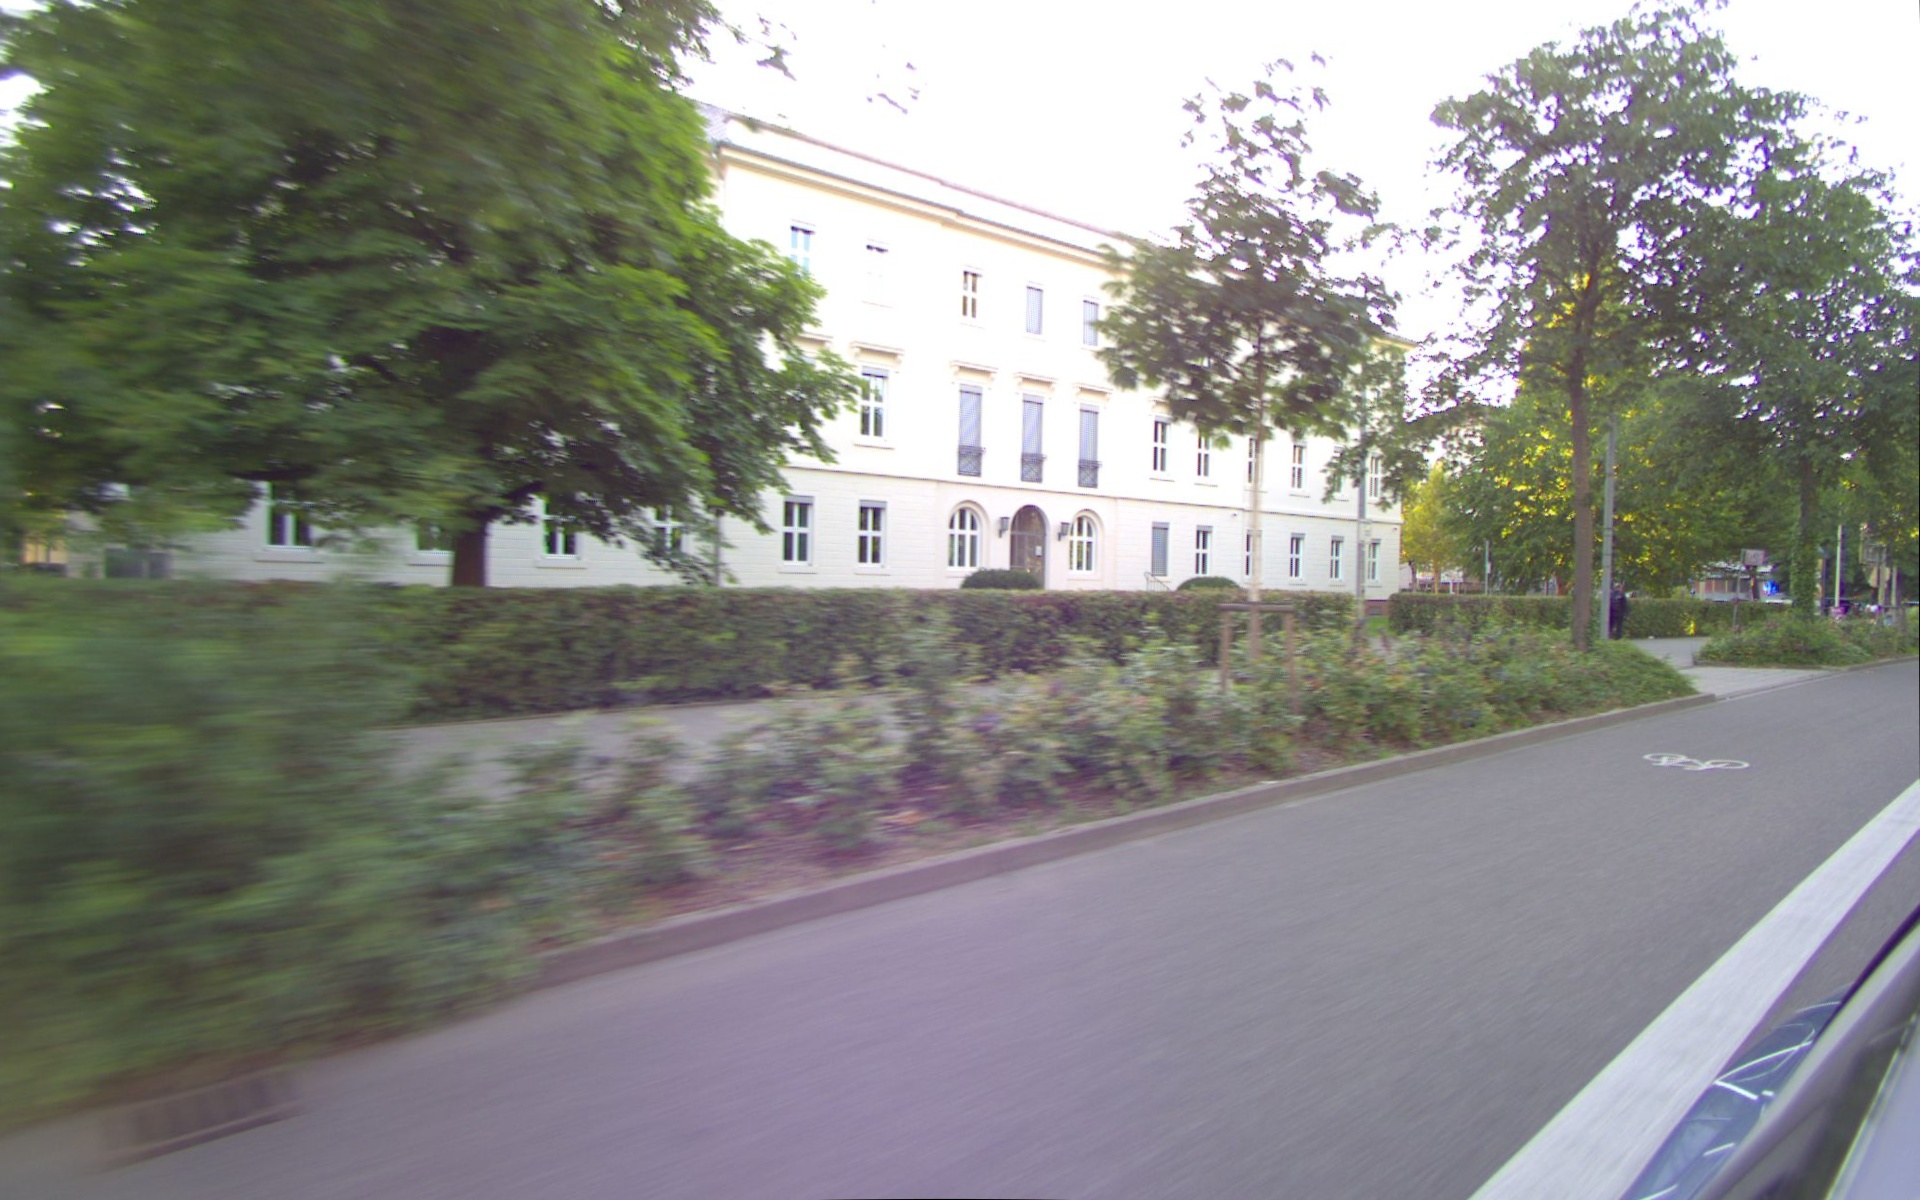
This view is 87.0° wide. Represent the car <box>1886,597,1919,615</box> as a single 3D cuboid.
[{"bbox_3d":[79.789,0.493,84.218,1.630,1.477,3.671,1,1,-29],"label":"car"}]

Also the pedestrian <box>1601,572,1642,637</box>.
[{"bbox_3d":[18.266,0.104,27.953,0.794,1.760,0.771,1,1,-43],"label":"pedestrian"}]

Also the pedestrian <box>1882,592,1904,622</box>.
[{"bbox_3d":[51.453,0.401,55.807,0.828,1.643,0.683,1,0,-34],"label":"pedestrian"}]

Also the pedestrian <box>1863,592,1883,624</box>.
[{"bbox_3d":[51.029,0.448,56.564,0.675,1.776,0.683,1,0,-34],"label":"pedestrian"}]

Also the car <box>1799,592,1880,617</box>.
[{"bbox_3d":[66.714,0.295,76.811,1.880,1.762,4.245,1,1,-28],"label":"car"}]

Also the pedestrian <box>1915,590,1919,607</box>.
[{"bbox_3d":[102.265,-0.136,107.699,0.829,1.865,0.683,1,0,-34],"label":"pedestrian"}]
